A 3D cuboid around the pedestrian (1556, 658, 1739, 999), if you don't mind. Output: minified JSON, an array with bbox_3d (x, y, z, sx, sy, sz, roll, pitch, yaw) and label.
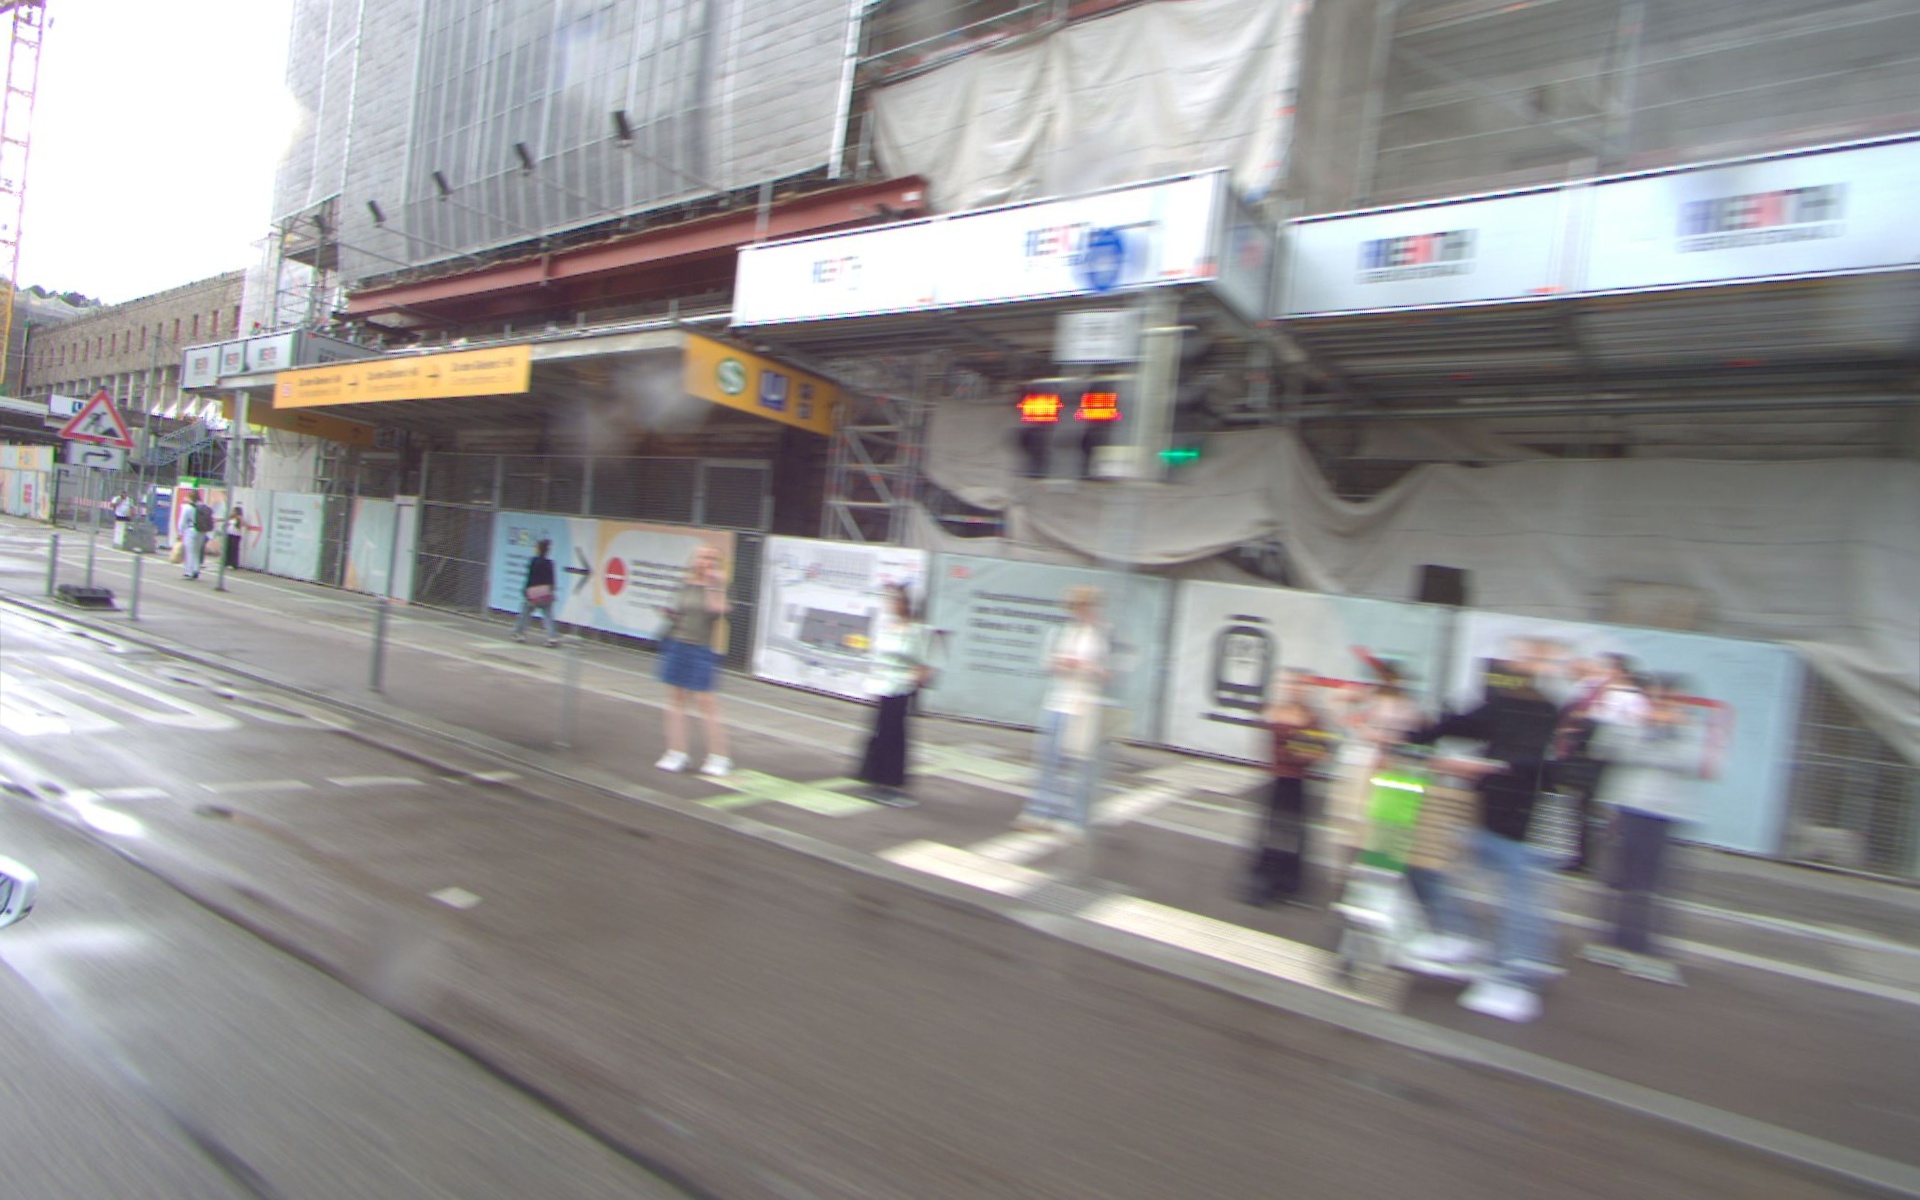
[{"bbox_3d":[3.757,1.193,5.512,0.605,1.673,0.557,8,4,36],"label":"pedestrian"}]

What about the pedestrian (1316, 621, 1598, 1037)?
[{"bbox_3d":[2.306,1.034,4.739,0.808,1.762,0.580,7,1,-8],"label":"pedestrian"}]

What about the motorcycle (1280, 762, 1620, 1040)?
[{"bbox_3d":[2.276,1.395,4.749,1.218,1.034,0.585,7,1,-8],"label":"motorcycle"}]

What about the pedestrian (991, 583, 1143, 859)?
[{"bbox_3d":[0.747,0.807,7.061,0.700,1.776,0.557,8,4,36],"label":"pedestrian"}]

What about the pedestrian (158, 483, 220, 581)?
[{"bbox_3d":[-15.510,-1.365,20.247,0.797,1.873,0.722,8,4,35],"label":"pedestrian"}]

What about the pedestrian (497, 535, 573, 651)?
[{"bbox_3d":[-6.503,-0.110,15.375,0.980,1.655,0.548,8,4,35],"label":"pedestrian"}]

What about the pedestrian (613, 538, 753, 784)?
[{"bbox_3d":[-2.165,0.454,7.874,0.738,1.783,0.559,7,4,22],"label":"pedestrian"}]

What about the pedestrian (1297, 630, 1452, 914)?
[{"bbox_3d":[2.670,1.063,6.491,0.605,1.673,0.563,8,4,40],"label":"pedestrian"}]

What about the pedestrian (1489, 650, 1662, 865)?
[{"bbox_3d":[5.628,1.389,9.205,1.093,1.703,0.732,8,1,38],"label":"pedestrian"}]

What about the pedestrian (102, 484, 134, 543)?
[{"bbox_3d":[-28.130,-2.899,33.607,0.648,1.873,0.644,8,4,35],"label":"pedestrian"}]

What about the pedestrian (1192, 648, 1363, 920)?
[{"bbox_3d":[1.932,1.069,6.136,0.700,1.469,0.557,8,4,36],"label":"pedestrian"}]

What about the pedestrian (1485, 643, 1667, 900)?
[{"bbox_3d":[4.652,1.233,7.617,0.942,1.701,0.735,8,4,35],"label":"pedestrian"}]

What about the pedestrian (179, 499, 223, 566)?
[{"bbox_3d":[-18.687,-1.663,24.755,0.655,1.561,0.650,8,4,36],"label":"pedestrian"}]

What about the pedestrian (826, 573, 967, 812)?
[{"bbox_3d":[-0.488,0.670,7.635,0.740,1.663,0.557,8,4,36],"label":"pedestrian"}]
